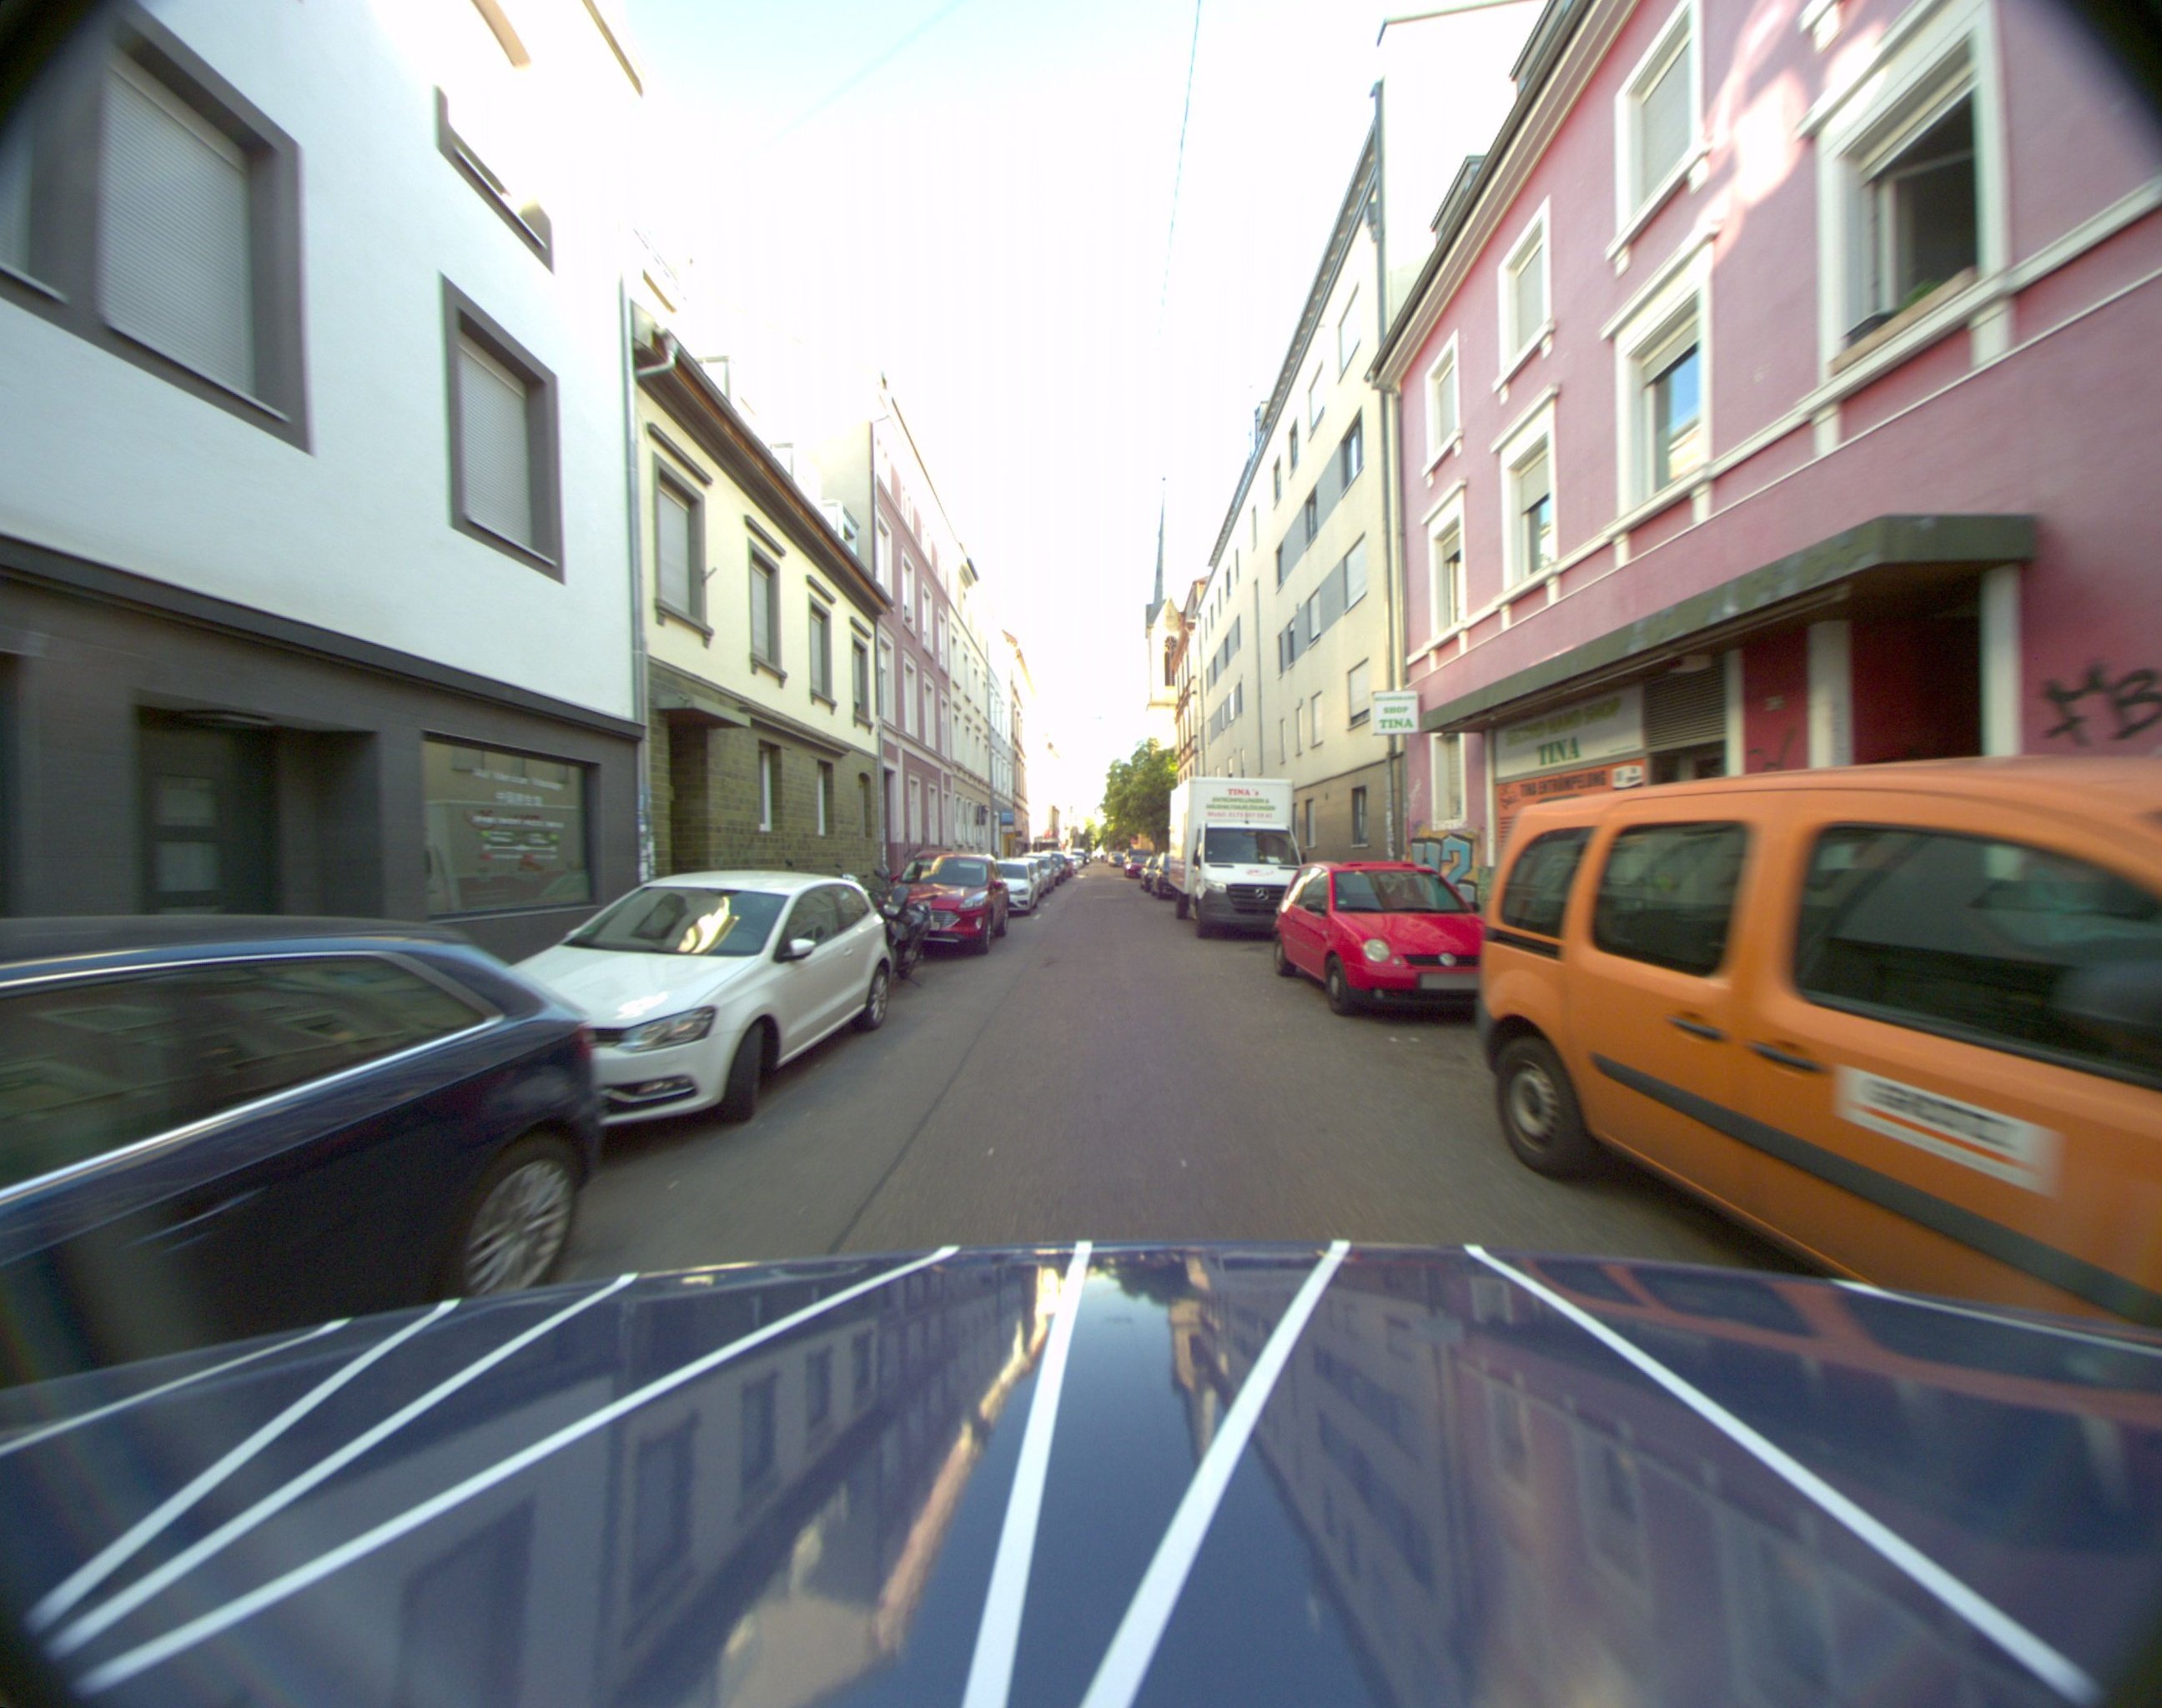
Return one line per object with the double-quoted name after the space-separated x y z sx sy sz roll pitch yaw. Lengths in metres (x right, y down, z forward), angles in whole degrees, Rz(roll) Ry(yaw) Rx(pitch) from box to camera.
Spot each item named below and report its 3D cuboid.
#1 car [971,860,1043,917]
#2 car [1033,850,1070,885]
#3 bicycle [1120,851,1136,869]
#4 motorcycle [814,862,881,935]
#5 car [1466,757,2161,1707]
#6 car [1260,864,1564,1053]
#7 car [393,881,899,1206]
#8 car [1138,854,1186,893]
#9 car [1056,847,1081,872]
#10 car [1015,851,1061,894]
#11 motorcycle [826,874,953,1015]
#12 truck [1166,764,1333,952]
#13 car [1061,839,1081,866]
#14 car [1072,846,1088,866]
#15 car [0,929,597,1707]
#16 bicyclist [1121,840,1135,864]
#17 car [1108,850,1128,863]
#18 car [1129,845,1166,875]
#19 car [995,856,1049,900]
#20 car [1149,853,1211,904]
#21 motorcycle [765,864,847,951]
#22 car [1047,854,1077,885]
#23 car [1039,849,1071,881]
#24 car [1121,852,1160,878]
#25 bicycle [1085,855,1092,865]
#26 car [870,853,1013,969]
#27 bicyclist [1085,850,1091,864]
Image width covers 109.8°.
-2.007 0.913 21.677 1.612 1.388 3.881 0 1 1 "car"
-1.495 0.657 39.990 1.713 1.721 4.220 0 1 1 "car"
4.501 0.582 72.776 1.020 1.641 3.546 -3 1 -3 "bicycle"
-4.894 0.895 16.078 0.697 1.388 2.037 -2 1 1 "motorcycle"
2.904 0.725 1.884 1.807 1.834 4.244 -1 1 1 "car"
3.160 0.888 8.086 1.687 1.458 3.660 -1 1 1 "car"
-2.683 1.041 5.784 1.620 1.495 3.772 0 1 1 "car"
3.397 0.773 32.420 1.687 1.482 3.914 2 1 1 "car"
-1.128 0.444 65.998 1.999 2.002 4.562 -3 1 -2 "car"
-1.814 0.758 33.289 1.713 1.721 4.220 0 1 1 "car"
-2.315 1.040 9.571 0.990 1.481 2.267 0 1 1 "motorcycle"
3.239 0.039 16.342 2.296 3.165 7.045 0 1 2 "truck"
-1.164 -0.156 84.326 1.999 2.777 4.562 -3 1 -2 "car"
-0.207 0.313 110.371 1.999 2.777 4.562 -3 1 -2 "car"
-2.787 1.009 1.020 1.736 1.388 3.881 0 1 1 "car"
4.465 -0.190 72.575 1.020 2.280 1.531 -3 1 -4 "bicyclist"
4.552 0.294 93.821 1.927 1.522 4.562 -3 1 -2 "car"
4.777 0.402 55.197 1.999 2.002 4.562 -3 1 -2 "car"
-2.112 0.841 28.102 1.612 1.444 3.881 0 1 1 "car"
3.396 0.800 26.642 1.687 1.579 3.914 2 1 1 "car"
-4.958 0.919 13.852 0.667 1.388 2.037 -2 1 1 "motorcycle"
-1.340 1.032 54.127 1.999 2.002 4.563 -3 1 -1 "car"
-1.522 0.614 45.351 1.713 1.802 4.220 0 1 1 "car"
3.787 0.661 48.991 1.927 1.522 4.562 -3 1 -2 "car"
0.850 0.712 91.527 0.729 1.173 2.488 -3 1 -1 "bicycle"
-2.328 0.869 13.785 1.713 1.721 4.407 0 1 1 "car"
0.844 0.364 91.410 0.716 1.650 0.877 -3 1 -1 "bicyclist"
